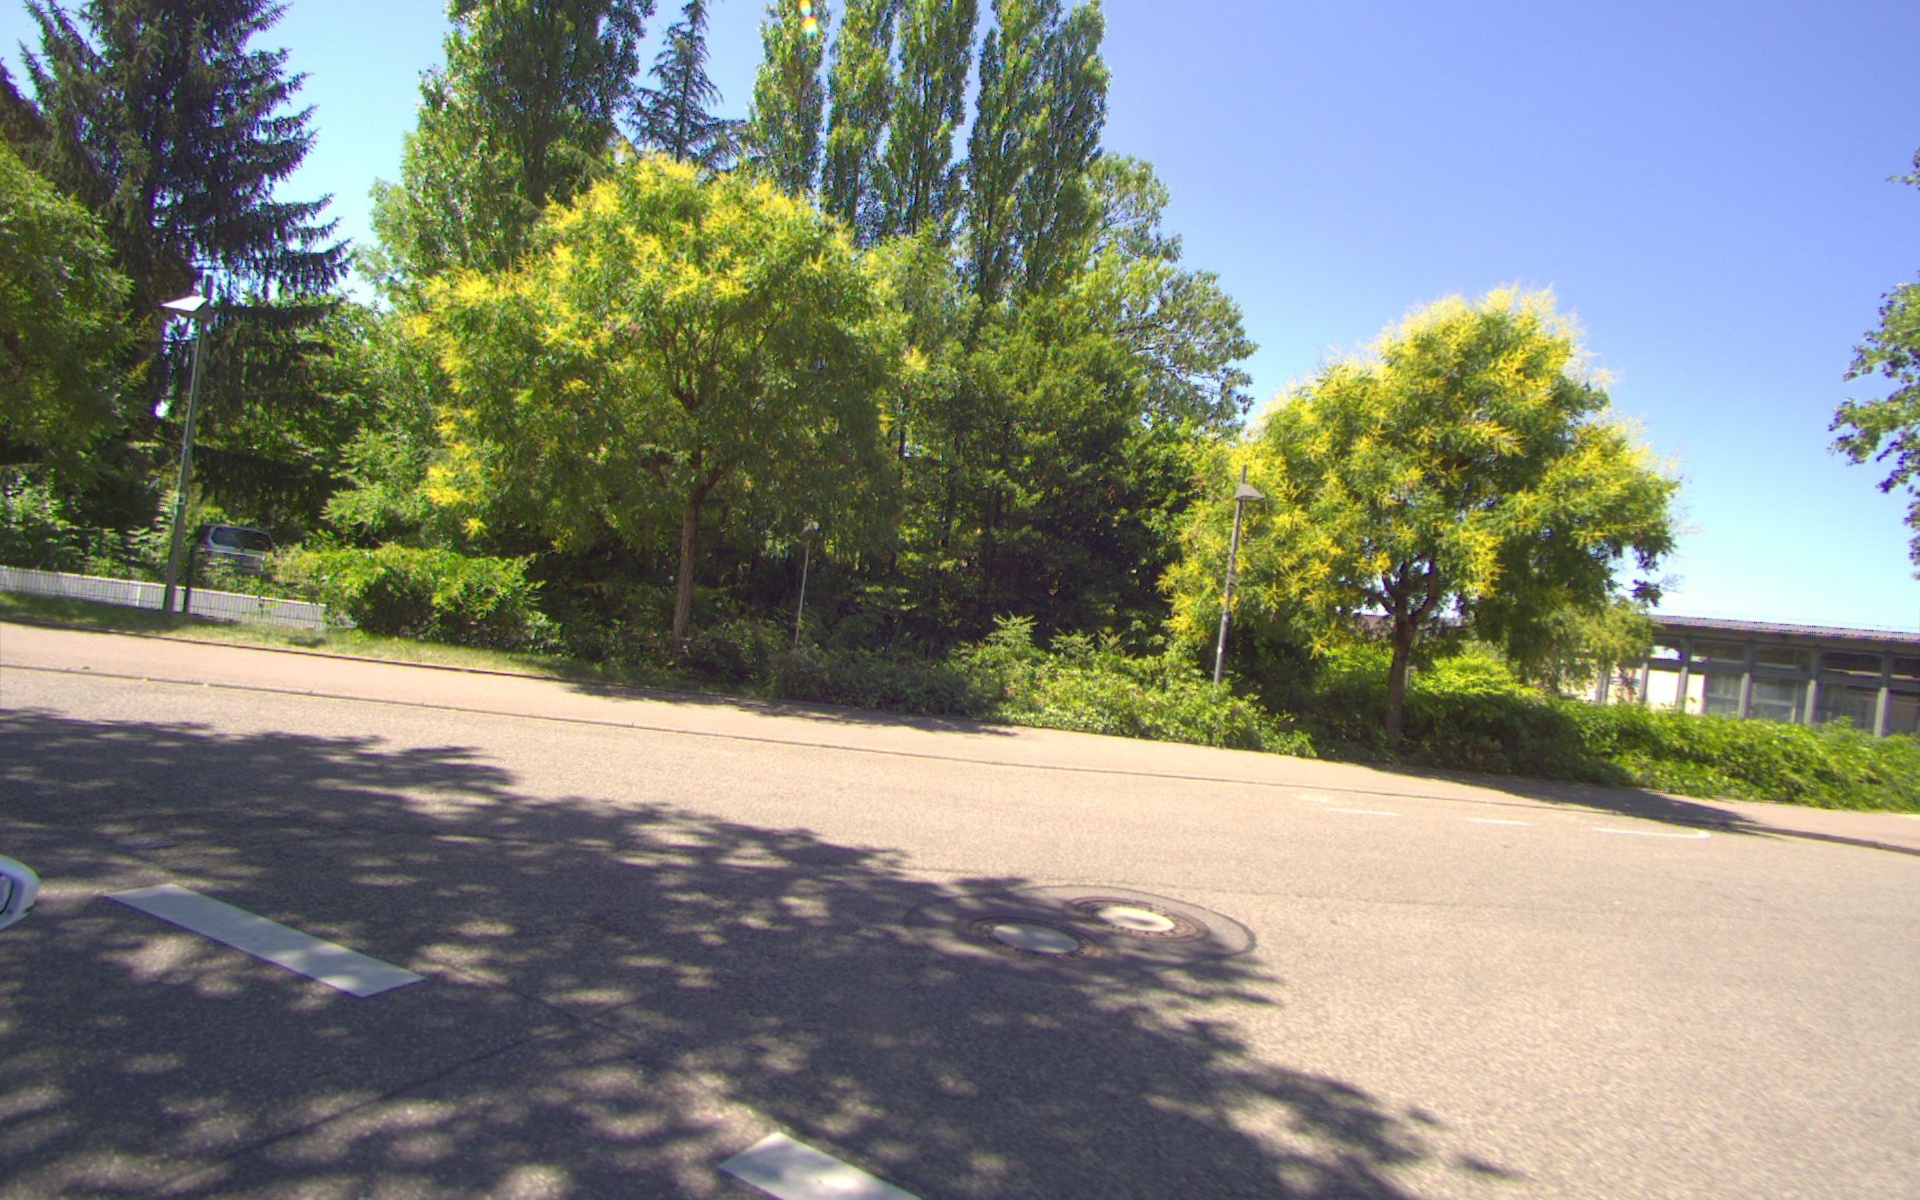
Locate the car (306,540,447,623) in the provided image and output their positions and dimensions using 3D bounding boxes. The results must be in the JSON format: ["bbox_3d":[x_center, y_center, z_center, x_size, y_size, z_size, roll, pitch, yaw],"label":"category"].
[{"bbox_3d":[-14.106,-0.484,24.220,1.761,1.517,4.442,8,-2,-45],"label":"car"}]

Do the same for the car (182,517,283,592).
[{"bbox_3d":[-18.637,-1.208,25.702,1.644,1.554,3.924,8,-1,-41],"label":"car"}]
